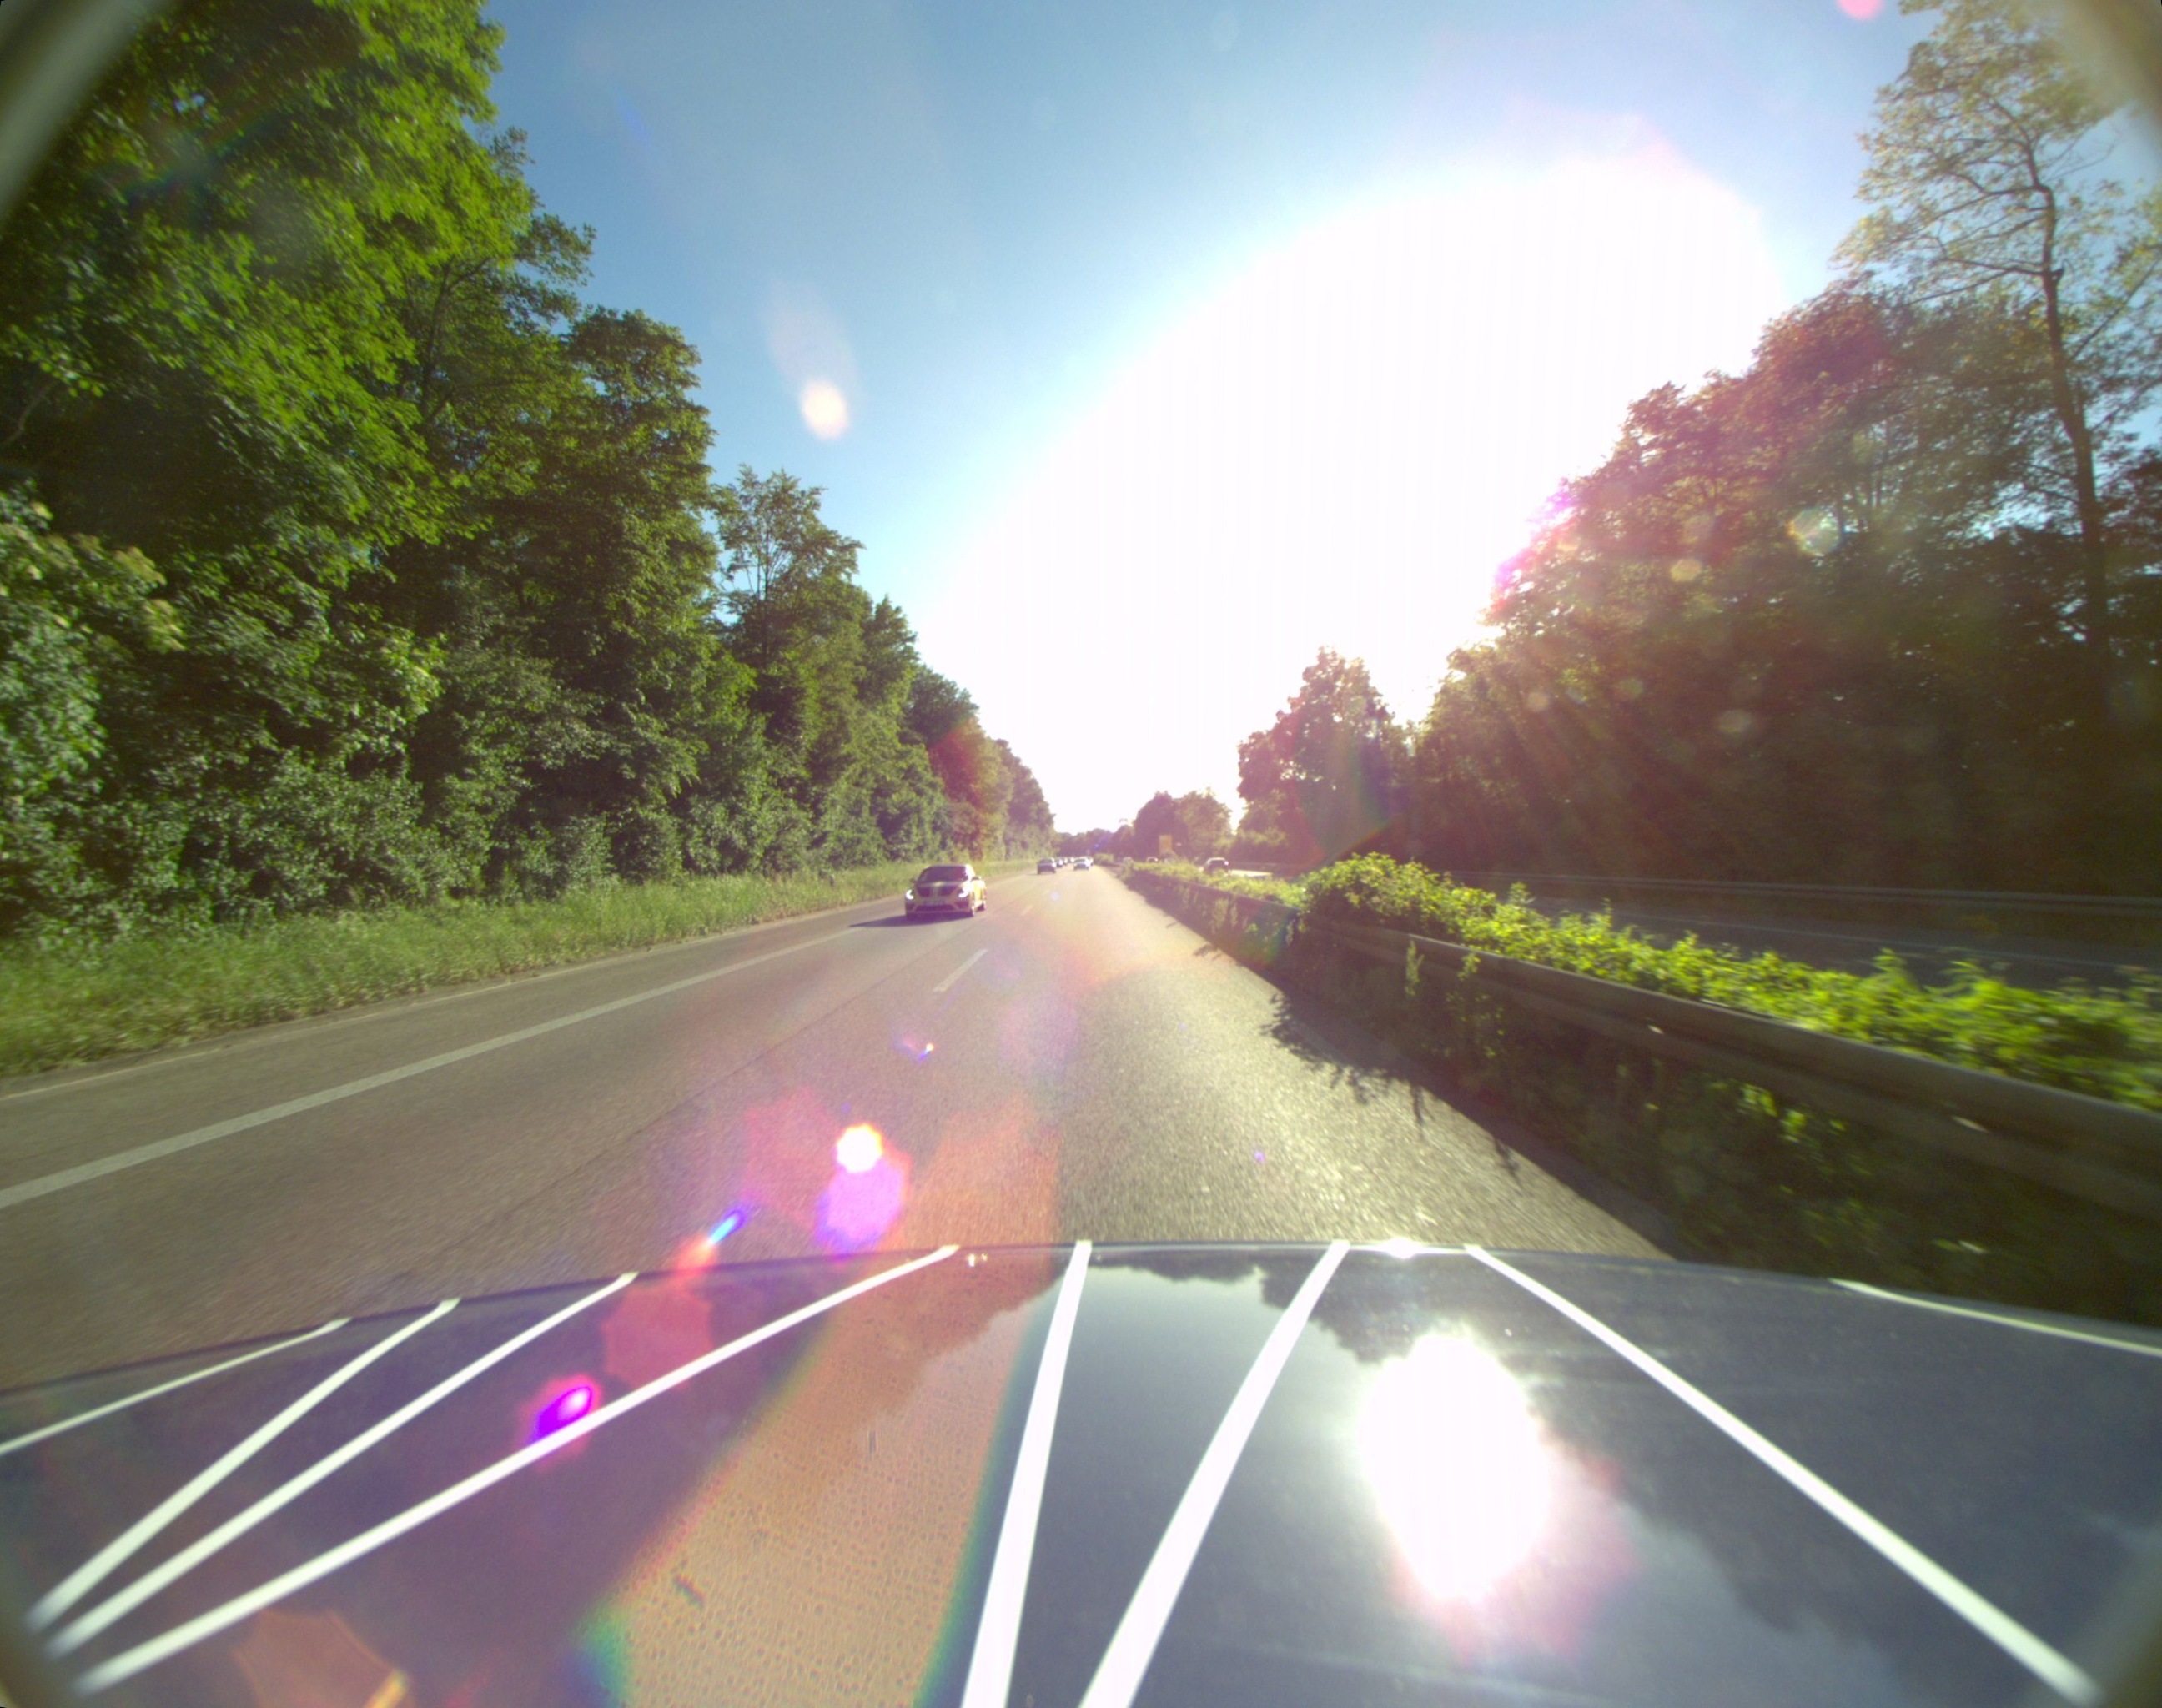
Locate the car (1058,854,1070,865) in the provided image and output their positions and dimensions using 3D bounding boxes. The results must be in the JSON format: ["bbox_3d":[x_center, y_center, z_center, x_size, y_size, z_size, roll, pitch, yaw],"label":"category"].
[{"bbox_3d":[-2.496,0.811,112.306,1.795,1.440,3.877,-2,0,0],"label":"car"}]

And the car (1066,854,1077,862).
[{"bbox_3d":[-1.743,0.784,140.018,1.795,1.440,3.877,-2,0,0],"label":"car"}]

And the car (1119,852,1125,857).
[{"bbox_3d":[13.371,0.209,249.358,1.642,1.540,3.793,-2,1,0],"label":"car"}]

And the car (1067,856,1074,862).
[{"bbox_3d":[-2.651,1.302,193.481,1.795,1.440,3.877,-2,0,0],"label":"car"}]

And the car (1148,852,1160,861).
[{"bbox_3d":[13.351,0.416,139.750,1.752,1.417,4.135,-2,1,0],"label":"car"}]

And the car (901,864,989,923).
[{"bbox_3d":[-3.799,1.055,21.822,1.795,1.440,3.877,-2,0,0],"label":"car"}]

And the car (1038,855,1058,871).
[{"bbox_3d":[-3.301,0.881,75.646,1.795,1.440,3.877,-2,0,0],"label":"car"}]

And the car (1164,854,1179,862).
[{"bbox_3d":[13.268,0.572,111.371,1.649,1.215,4.262,-2,0,0],"label":"car"}]

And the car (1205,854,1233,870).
[{"bbox_3d":[12.851,0.754,70.994,1.737,1.400,4.556,-2,0,0],"label":"car"}]

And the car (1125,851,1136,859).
[{"bbox_3d":[9.682,0.199,149.822,1.752,1.417,5.203,-2,1,0],"label":"car"}]

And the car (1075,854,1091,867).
[{"bbox_3d":[0.248,0.755,91.084,1.890,1.440,3.878,-2,0,1],"label":"car"}]

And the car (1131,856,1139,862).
[{"bbox_3d":[13.915,1.234,196.677,1.752,1.486,3.976,-2,1,0],"label":"car"}]

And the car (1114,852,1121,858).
[{"bbox_3d":[9.767,0.241,205.562,1.642,1.694,3.793,-2,1,0],"label":"car"}]
